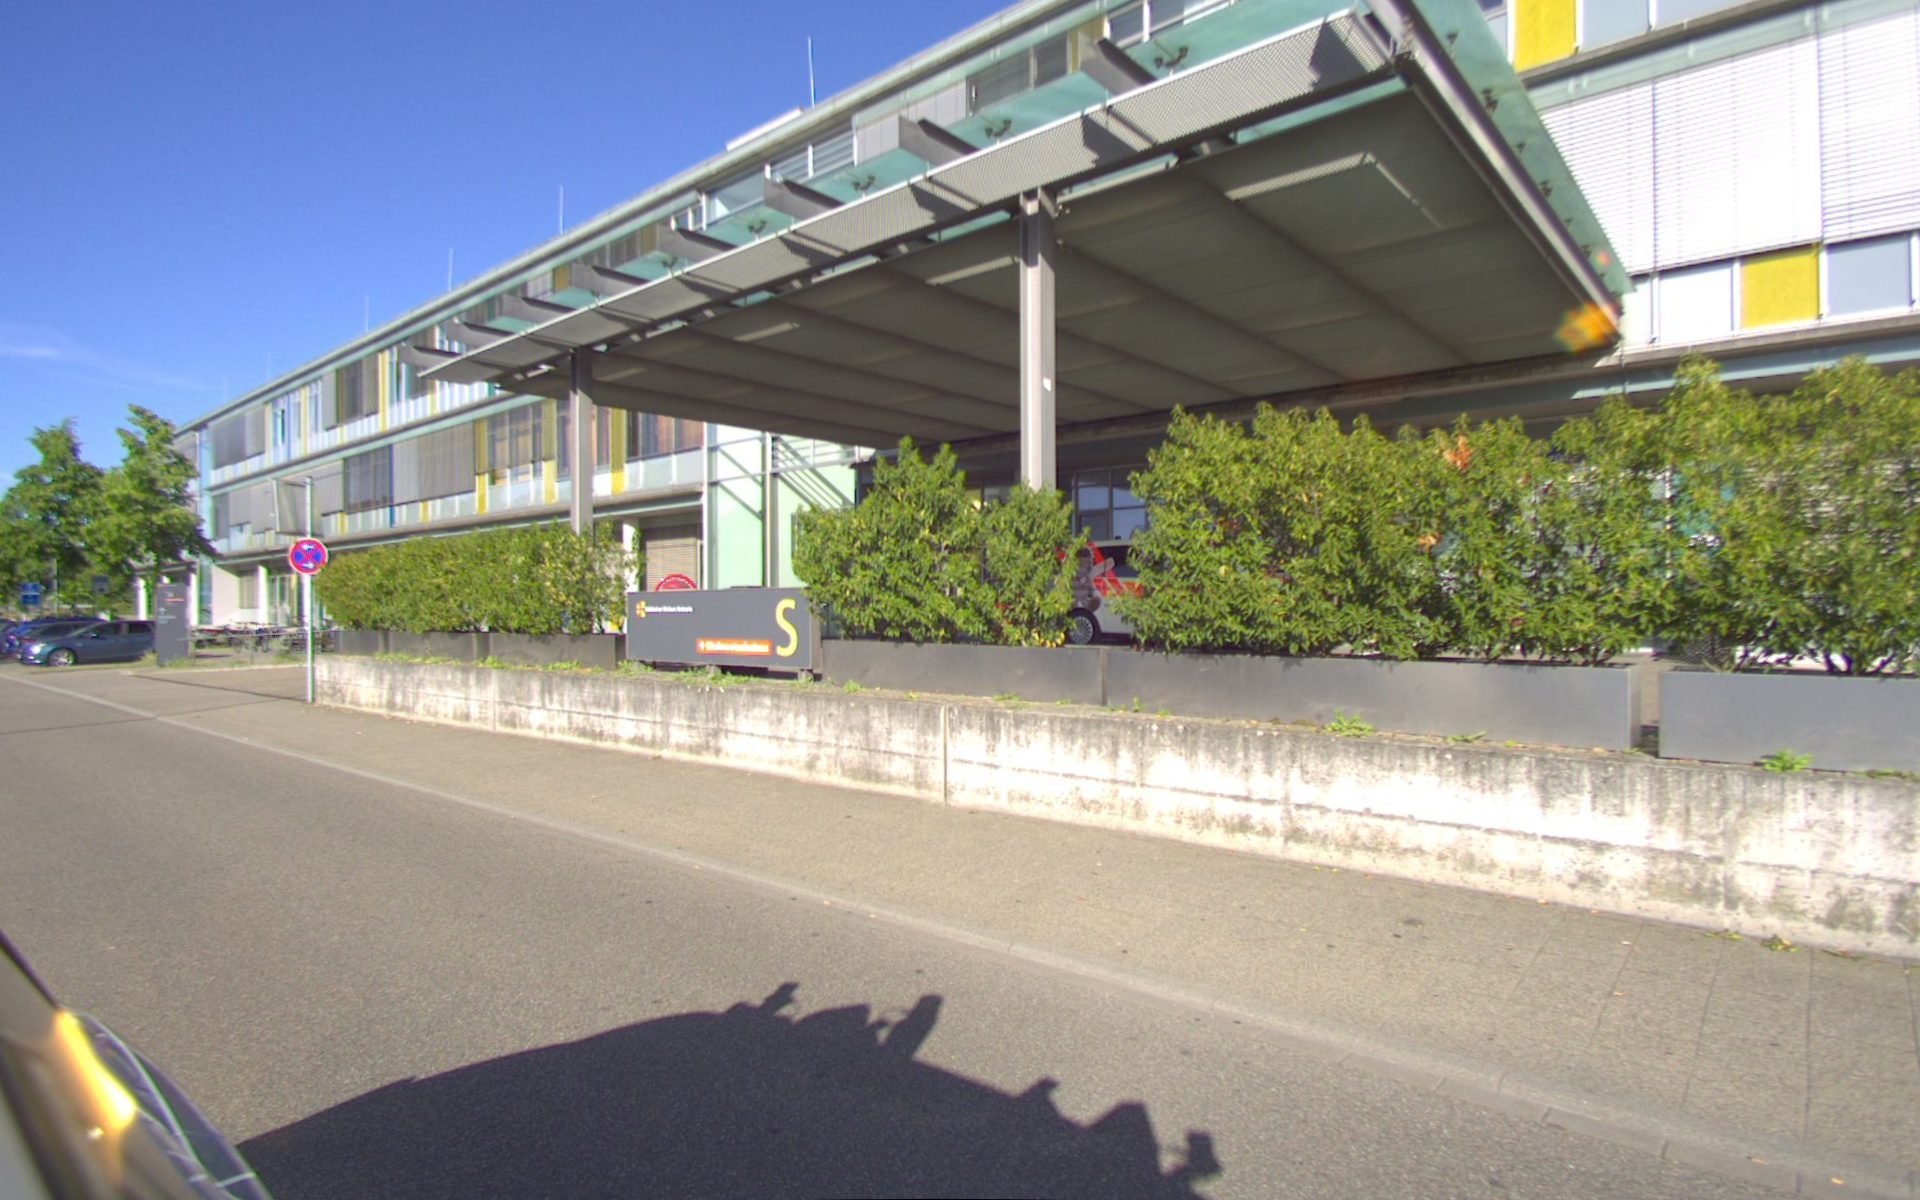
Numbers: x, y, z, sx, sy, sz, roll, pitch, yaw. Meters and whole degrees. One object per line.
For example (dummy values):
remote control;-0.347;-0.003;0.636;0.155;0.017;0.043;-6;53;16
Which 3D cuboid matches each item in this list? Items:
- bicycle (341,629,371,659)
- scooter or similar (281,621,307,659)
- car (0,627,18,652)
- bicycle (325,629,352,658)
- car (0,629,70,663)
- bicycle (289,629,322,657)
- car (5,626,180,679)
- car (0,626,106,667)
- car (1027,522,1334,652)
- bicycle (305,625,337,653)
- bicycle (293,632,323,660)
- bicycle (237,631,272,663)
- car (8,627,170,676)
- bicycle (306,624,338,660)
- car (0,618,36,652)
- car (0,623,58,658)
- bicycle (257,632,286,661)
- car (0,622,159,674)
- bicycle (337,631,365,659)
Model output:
bicycle;-24.044;1.733;40.269;1.854;1.144;0.442;-2;-2;40
scooter or similar;-23.014;1.361;34.965;1.205;1.283;0.465;-2;-2;42
car;-60.337;2.492;61.651;4.298;1.471;2.001;-2;1;-44
bicycle;-22.885;1.600;37.273;1.394;1.030;0.349;-1;-2;36
car;-44.609;2.175;47.437;1.822;1.433;4.051;-1;1;39
bicycle;-27.323;1.785;42.221;1.854;1.104;0.640;-2;-2;40
car;-28.041;1.640;32.811;1.752;1.478;4.090;-2;-1;39
car;-39.078;1.957;43.026;1.822;1.499;3.942;-1;1;39
car;3.584;-0.135;17.020;4.708;1.905;1.899;-2;-1;41
bicycle;-28.166;1.708;44.608;1.854;1.208;0.640;-2;-2;40
bicycle;-24.583;1.715;38.146;1.778;1.023;0.442;-2;-2;40
bicycle;-26.011;1.719;37.311;1.778;1.151;0.629;-2;-2;40
car;-29.750;1.708;34.660;1.729;1.448;3.949;-2;0;38
bicycle;-22.640;1.501;35.913;1.648;1.056;0.349;-12;-8;35
car;-56.133;2.104;58.114;1.999;1.877;4.302;-2;1;42
car;-48.835;2.097;51.309;1.997;1.639;4.309;-1;1;37
bicycle;-25.662;1.720;37.715;1.778;1.023;0.422;-2;-2;40
car;-31.696;1.678;36.407;1.958;1.664;4.180;-2;-1;38
bicycle;-22.636;1.672;37.610;1.394;1.030;0.349;-1;-2;36
